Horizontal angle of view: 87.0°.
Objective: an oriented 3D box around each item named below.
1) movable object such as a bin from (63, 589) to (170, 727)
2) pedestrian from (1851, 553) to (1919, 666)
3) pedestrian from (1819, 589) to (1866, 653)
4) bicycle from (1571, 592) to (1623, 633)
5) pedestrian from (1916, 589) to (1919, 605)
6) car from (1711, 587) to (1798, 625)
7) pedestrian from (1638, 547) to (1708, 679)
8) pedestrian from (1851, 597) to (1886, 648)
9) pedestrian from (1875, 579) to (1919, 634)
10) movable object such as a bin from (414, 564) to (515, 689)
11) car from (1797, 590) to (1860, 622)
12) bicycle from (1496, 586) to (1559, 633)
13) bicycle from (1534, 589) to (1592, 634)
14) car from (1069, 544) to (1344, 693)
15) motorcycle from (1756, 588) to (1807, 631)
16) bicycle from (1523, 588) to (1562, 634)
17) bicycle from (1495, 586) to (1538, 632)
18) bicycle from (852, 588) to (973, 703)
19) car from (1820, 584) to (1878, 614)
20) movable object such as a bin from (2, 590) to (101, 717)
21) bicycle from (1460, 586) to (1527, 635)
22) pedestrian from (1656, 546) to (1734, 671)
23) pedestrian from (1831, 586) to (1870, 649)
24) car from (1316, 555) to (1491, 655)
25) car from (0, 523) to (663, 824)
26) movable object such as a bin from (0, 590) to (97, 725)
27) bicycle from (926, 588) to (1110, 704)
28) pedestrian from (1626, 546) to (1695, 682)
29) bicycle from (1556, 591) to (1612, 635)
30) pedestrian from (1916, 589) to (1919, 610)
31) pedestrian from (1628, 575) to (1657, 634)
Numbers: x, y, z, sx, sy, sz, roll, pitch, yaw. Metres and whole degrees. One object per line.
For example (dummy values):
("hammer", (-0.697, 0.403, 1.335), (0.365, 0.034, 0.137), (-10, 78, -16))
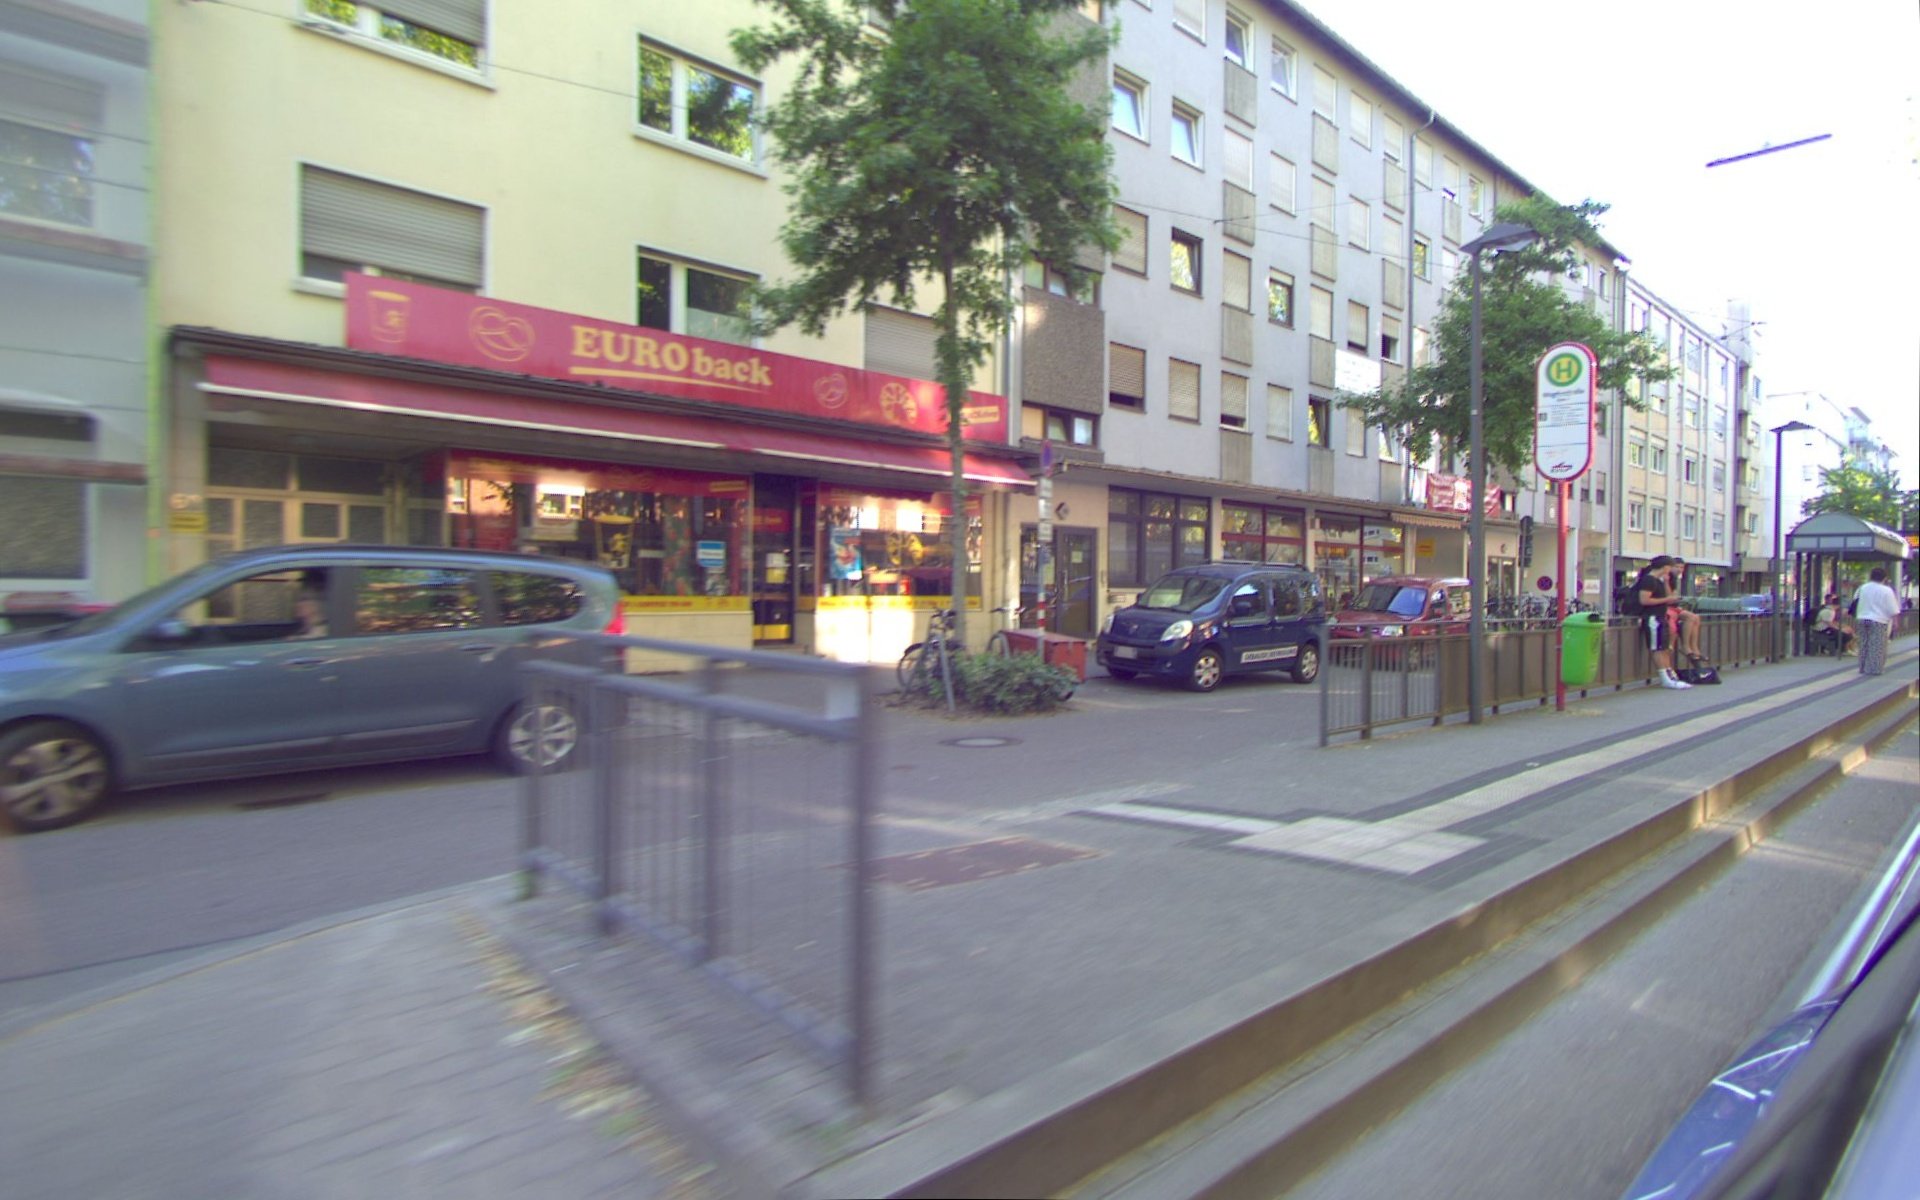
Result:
("movable object such as a bin", (-7.555, 0.485, 9.057), (0.685, 1.124, 0.882), (0, 2, -43))
("pedestrian", (14.729, 0.149, 16.027), (0.629, 1.734, 0.835), (0, 0, -40))
("pedestrian", (18.806, 0.431, 21.578), (0.717, 1.343, 0.486), (0, 0, 38))
("bicycle", (20.278, 0.394, 32.182), (0.772, 1.194, 2.738), (8, 5, 43))
("pedestrian", (99.408, -0.287, 104.683), (0.823, 1.675, 0.684), (0, 0, -43))
("car", (33.630, 0.234, 42.796), (4.577, 1.502, 1.957), (-1, 0, -40))
("pedestrian", (9.949, 0.170, 14.128), (0.689, 1.792, 0.495), (0, 0, -21))
("pedestrian", (19.625, 0.482, 21.860), (0.519, 1.069, 0.420), (0, 0, 38))
("pedestrian", (27.469, 0.191, 29.662), (0.836, 1.596, 0.650), (0, 0, -24))
("movable object such as a bin", (-5.791, 0.280, 11.819), (0.811, 1.367, 0.924), (0, 2, -43))
("car", (45.677, 0.269, 53.192), (3.931, 1.601, 1.996), (-1, 0, -42))
("bicycle", (15.964, 0.262, 28.418), (0.772, 1.194, 2.738), (8, 5, 43))
("bicycle", (17.693, 0.336, 29.669), (0.772, 1.194, 2.738), (8, 5, 43))
("car", (3.874, 0.209, 15.629), (4.119, 1.918, 1.999), (0, 4, -40))
("motorcycle", (28.820, 0.310, 35.503), (2.170, 1.473, 1.053), (0, 0, -42))
("bicycle", (16.831, 0.284, 29.233), (0.768, 1.194, 2.751), (7, 4, 32))
("bicycle", (16.097, 0.227, 29.238), (0.769, 1.194, 2.750), (7, 4, 33))
("bicycle", (-0.536, 0.502, 12.536), (0.676, 1.224, 2.197), (2, 2, 20))
("car", (50.216, -0.065, 57.171), (3.931, 1.612, 1.996), (-1, 0, -42))
("movable object such as a bin", (-8.789, 0.484, 9.790), (0.685, 1.124, 0.882), (0, 2, -43))
("bicycle", (14.081, 0.249, 26.666), (0.771, 1.194, 2.739), (6, 5, 44))
("pedestrian", (10.529, 0.116, 14.499), (0.844, 1.722, 0.682), (0, 0, 42))
("pedestrian", (19.223, 0.373, 21.845), (0.583, 1.322, 0.520), (-1, 0, 38))
("car", (8.830, 0.075, 19.998), (4.104, 1.777, 1.690), (-1, 0, -43))
("car", (-4.574, 0.369, 7.213), (4.363, 1.641, 1.766), (0, 2, -40))
("movable object such as a bin", (-8.303, 0.487, 9.183), (0.685, 1.124, 0.882), (0, 2, -43))
("bicycle", (0.677, 0.503, 12.571), (1.011, 1.224, 2.208), (0, 3, -41))
("pedestrian", (9.444, 0.176, 13.642), (0.687, 1.777, 0.571), (0, 0, 42))
("bicycle", (18.904, 0.392, 30.629), (0.772, 1.194, 2.738), (8, 5, 43))
("pedestrian", (78.897, -0.049, 82.955), (0.954, 1.675, 0.750), (0, 0, -43))
("pedestrian", (21.611, 0.136, 32.052), (0.677, 1.827, 0.762), (-1, 1, 41))
